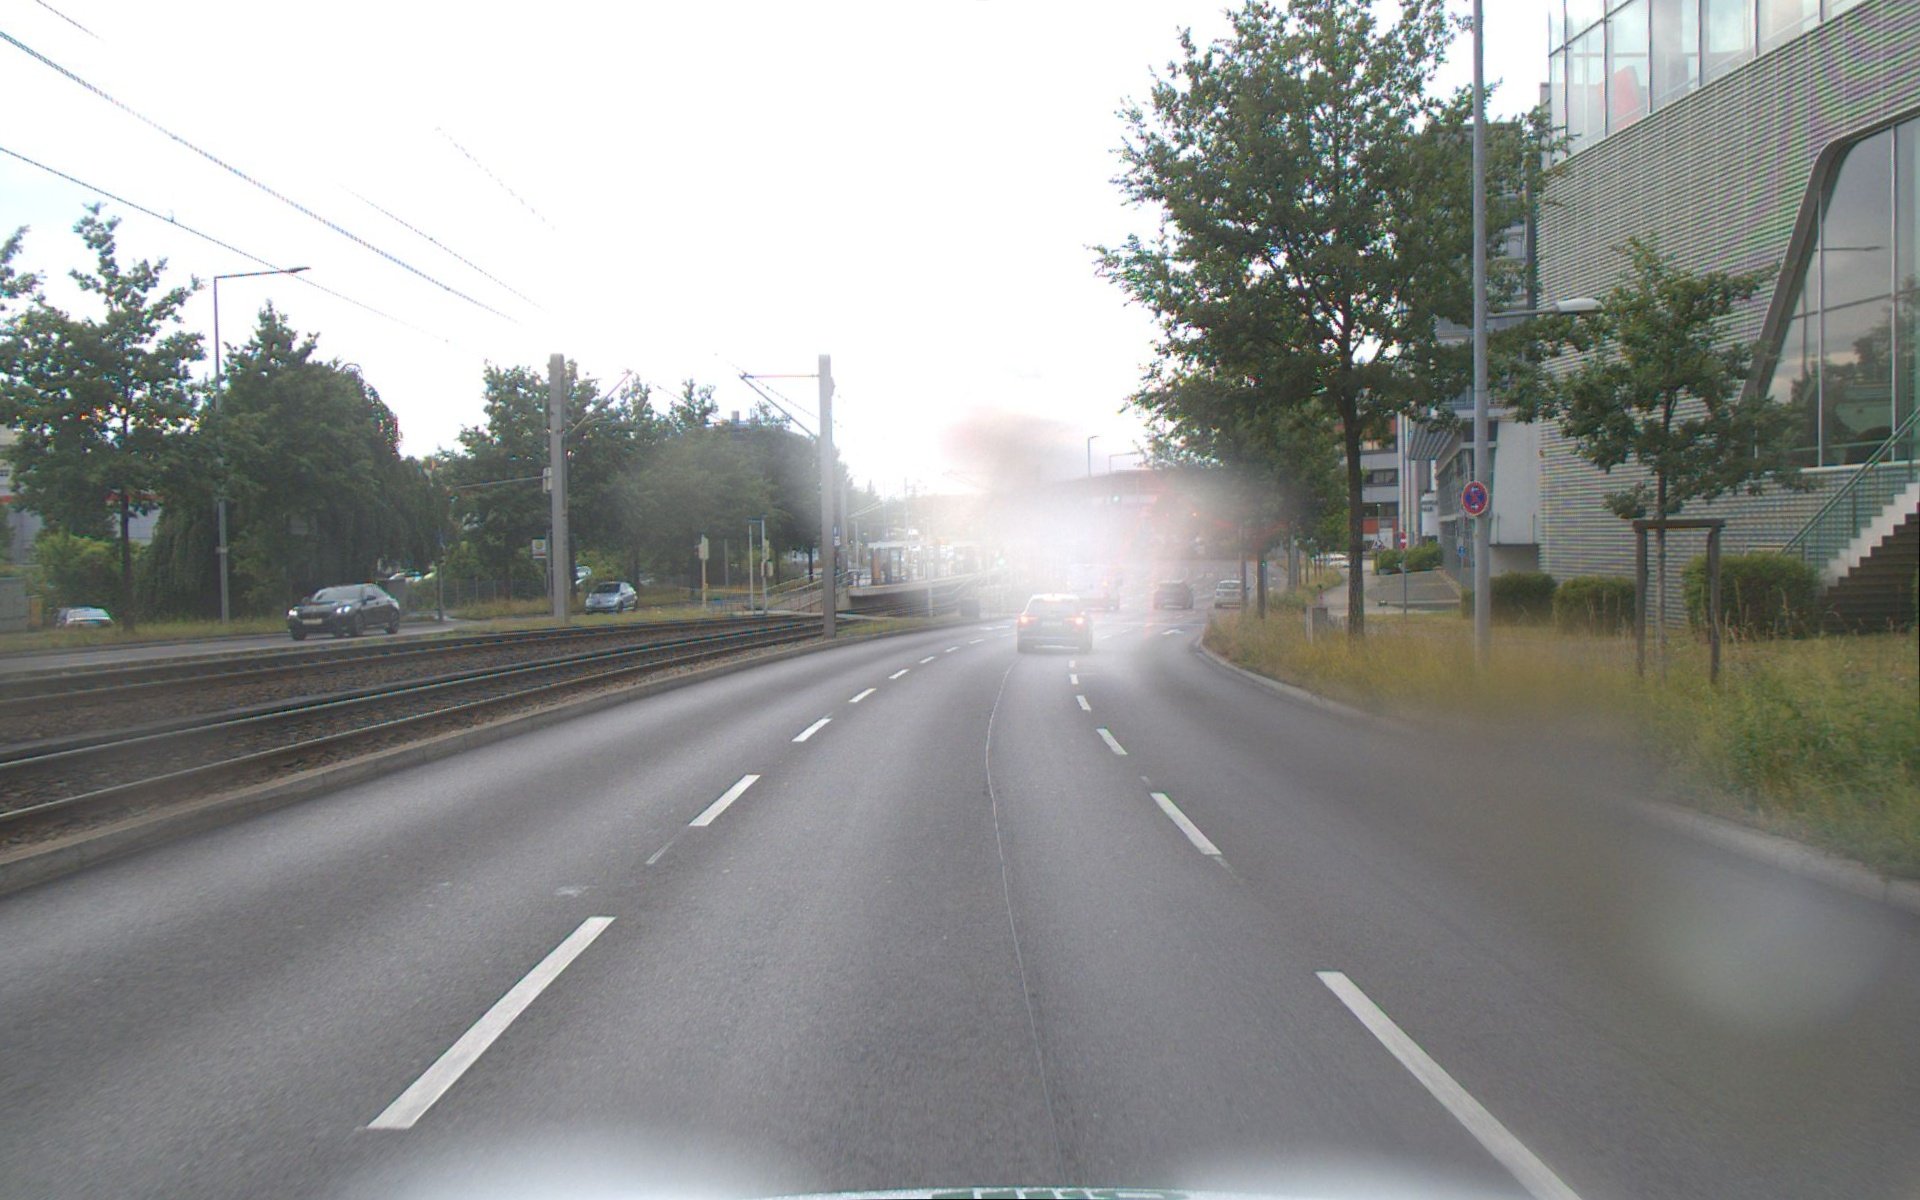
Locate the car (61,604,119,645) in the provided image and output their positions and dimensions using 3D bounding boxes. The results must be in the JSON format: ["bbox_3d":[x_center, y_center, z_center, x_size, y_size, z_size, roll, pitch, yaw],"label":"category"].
[{"bbox_3d":[-34.743,0.976,66.070,1.971,1.536,3.962,1,-1,-28],"label":"car"}]

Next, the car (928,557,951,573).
[{"bbox_3d":[-2.830,-4.794,228.170,1.966,2.049,3.973,1,-1,-22],"label":"car"}]

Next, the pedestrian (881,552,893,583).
[{"bbox_3d":[-4.635,-2.049,104.605,0.623,1.886,0.751,0,-1,8],"label":"pedestrian"}]

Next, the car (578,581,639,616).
[{"bbox_3d":[-17.609,-0.102,82.991,1.951,1.709,4.002,1,1,4],"label":"car"}]

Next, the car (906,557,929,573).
[{"bbox_3d":[-5.877,-4.816,227.297,1.966,2.049,3.973,1,-1,-22],"label":"car"}]

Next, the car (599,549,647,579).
[{"bbox_3d":[-23.942,-2.542,117.655,1.951,2.049,4.003,0,0,12],"label":"car"}]

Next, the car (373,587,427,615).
[{"bbox_3d":[-30.625,0.074,90.360,1.974,1.439,3.956,1,-1,-32],"label":"car"}]

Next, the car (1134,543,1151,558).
[{"bbox_3d":[27.771,-7.509,251.782,1.953,2.049,3.998,0,-1,-2],"label":"car"}]

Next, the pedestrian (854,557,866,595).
[{"bbox_3d":[-5.398,-1.285,89.170,0.537,1.987,0.664,1,-1,5],"label":"pedestrian"}]

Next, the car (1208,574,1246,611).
[{"bbox_3d":[14.412,-0.442,89.181,1.978,1.800,4.005,0,3,9],"label":"car"}]

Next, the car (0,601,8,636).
[{"bbox_3d":[-43.913,0.808,74.157,1.974,1.536,3.957,1,-1,-32],"label":"car"}]

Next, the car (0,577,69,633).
[{"bbox_3d":[-29.761,0.158,51.326,1.952,1.679,4.000,1,-1,2],"label":"car"}]

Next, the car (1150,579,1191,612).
[{"bbox_3d":[11.109,-0.203,87.068,1.978,1.651,4.003,0,-1,9],"label":"car"}]

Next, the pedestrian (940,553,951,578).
[{"bbox_3d":[-1.150,-2.786,133.874,0.837,2.049,1.041,1,-1,0],"label":"pedestrian"}]

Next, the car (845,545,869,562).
[{"bbox_3d":[-13.635,-6.148,218.948,1.966,2.049,3.973,1,-1,-22],"label":"car"}]

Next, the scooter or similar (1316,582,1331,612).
[{"bbox_3d":[16.071,-0.139,73.210,0.448,1.285,1.338,-3,0,6],"label":"scooter or similar"}]

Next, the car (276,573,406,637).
[{"bbox_3d":[-16.886,0.100,45.343,1.845,1.547,4.402,-4,1,-1],"label":"car"}]

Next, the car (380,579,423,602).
[{"bbox_3d":[-51.346,-0.867,152.037,3.924,2.049,1.990,0,-1,39],"label":"car"}]

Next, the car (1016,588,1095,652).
[{"bbox_3d":[2.475,0.453,41.994,1.727,1.489,4.630,1,1,6],"label":"car"}]

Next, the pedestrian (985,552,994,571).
[{"bbox_3d":[2.773,-3.584,155.097,0.736,1.781,0.764,0,-1,10],"label":"pedestrian"}]

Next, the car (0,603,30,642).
[{"bbox_3d":[-37.858,0.877,65.122,1.729,1.520,3.969,1,-1,-24],"label":"car"}]

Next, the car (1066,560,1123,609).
[{"bbox_3d":[6.687,-0.730,81.730,2.457,2.215,5.153,0,-1,8],"label":"car"}]

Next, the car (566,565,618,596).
[{"bbox_3d":[-25.012,-1.322,112.420,1.951,2.049,4.003,0,0,12],"label":"car"}]
